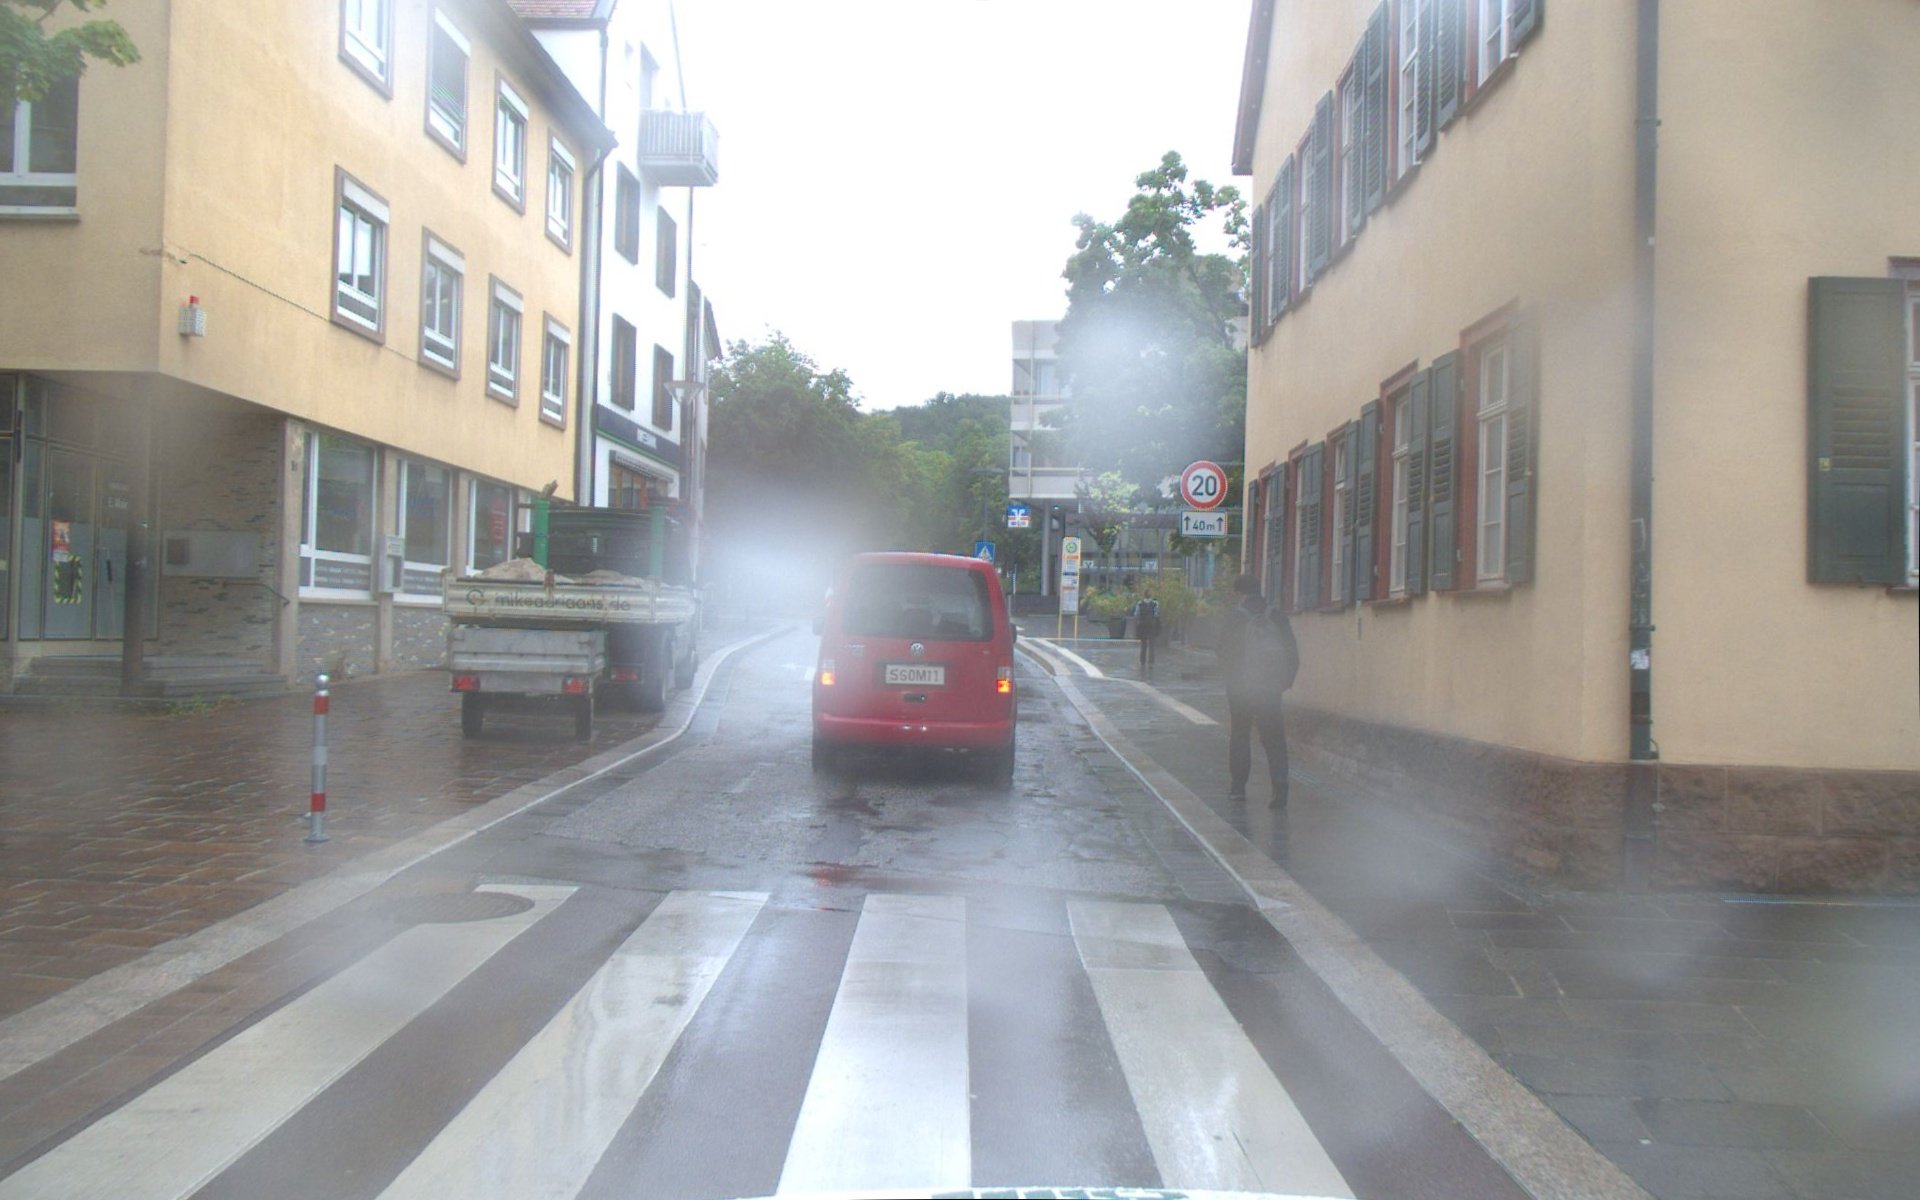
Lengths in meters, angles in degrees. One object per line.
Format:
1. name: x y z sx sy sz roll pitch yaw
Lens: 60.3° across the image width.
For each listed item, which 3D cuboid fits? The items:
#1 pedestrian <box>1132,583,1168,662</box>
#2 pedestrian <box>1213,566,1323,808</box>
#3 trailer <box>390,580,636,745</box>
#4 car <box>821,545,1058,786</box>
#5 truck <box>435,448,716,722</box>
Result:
1. pedestrian: 3.984 0.471 34.766 0.713 1.645 0.694 0 0 3
2. pedestrian: 2.269 0.616 12.272 0.699 1.722 0.868 1 1 5
3. trailer: -4.124 0.521 15.712 1.694 1.370 3.158 0 1 -5
4. car: -0.273 0.515 15.054 1.825 1.862 4.182 1 0 -3
5. truck: -4.489 -0.216 20.553 2.425 2.843 6.594 0 1 -5
